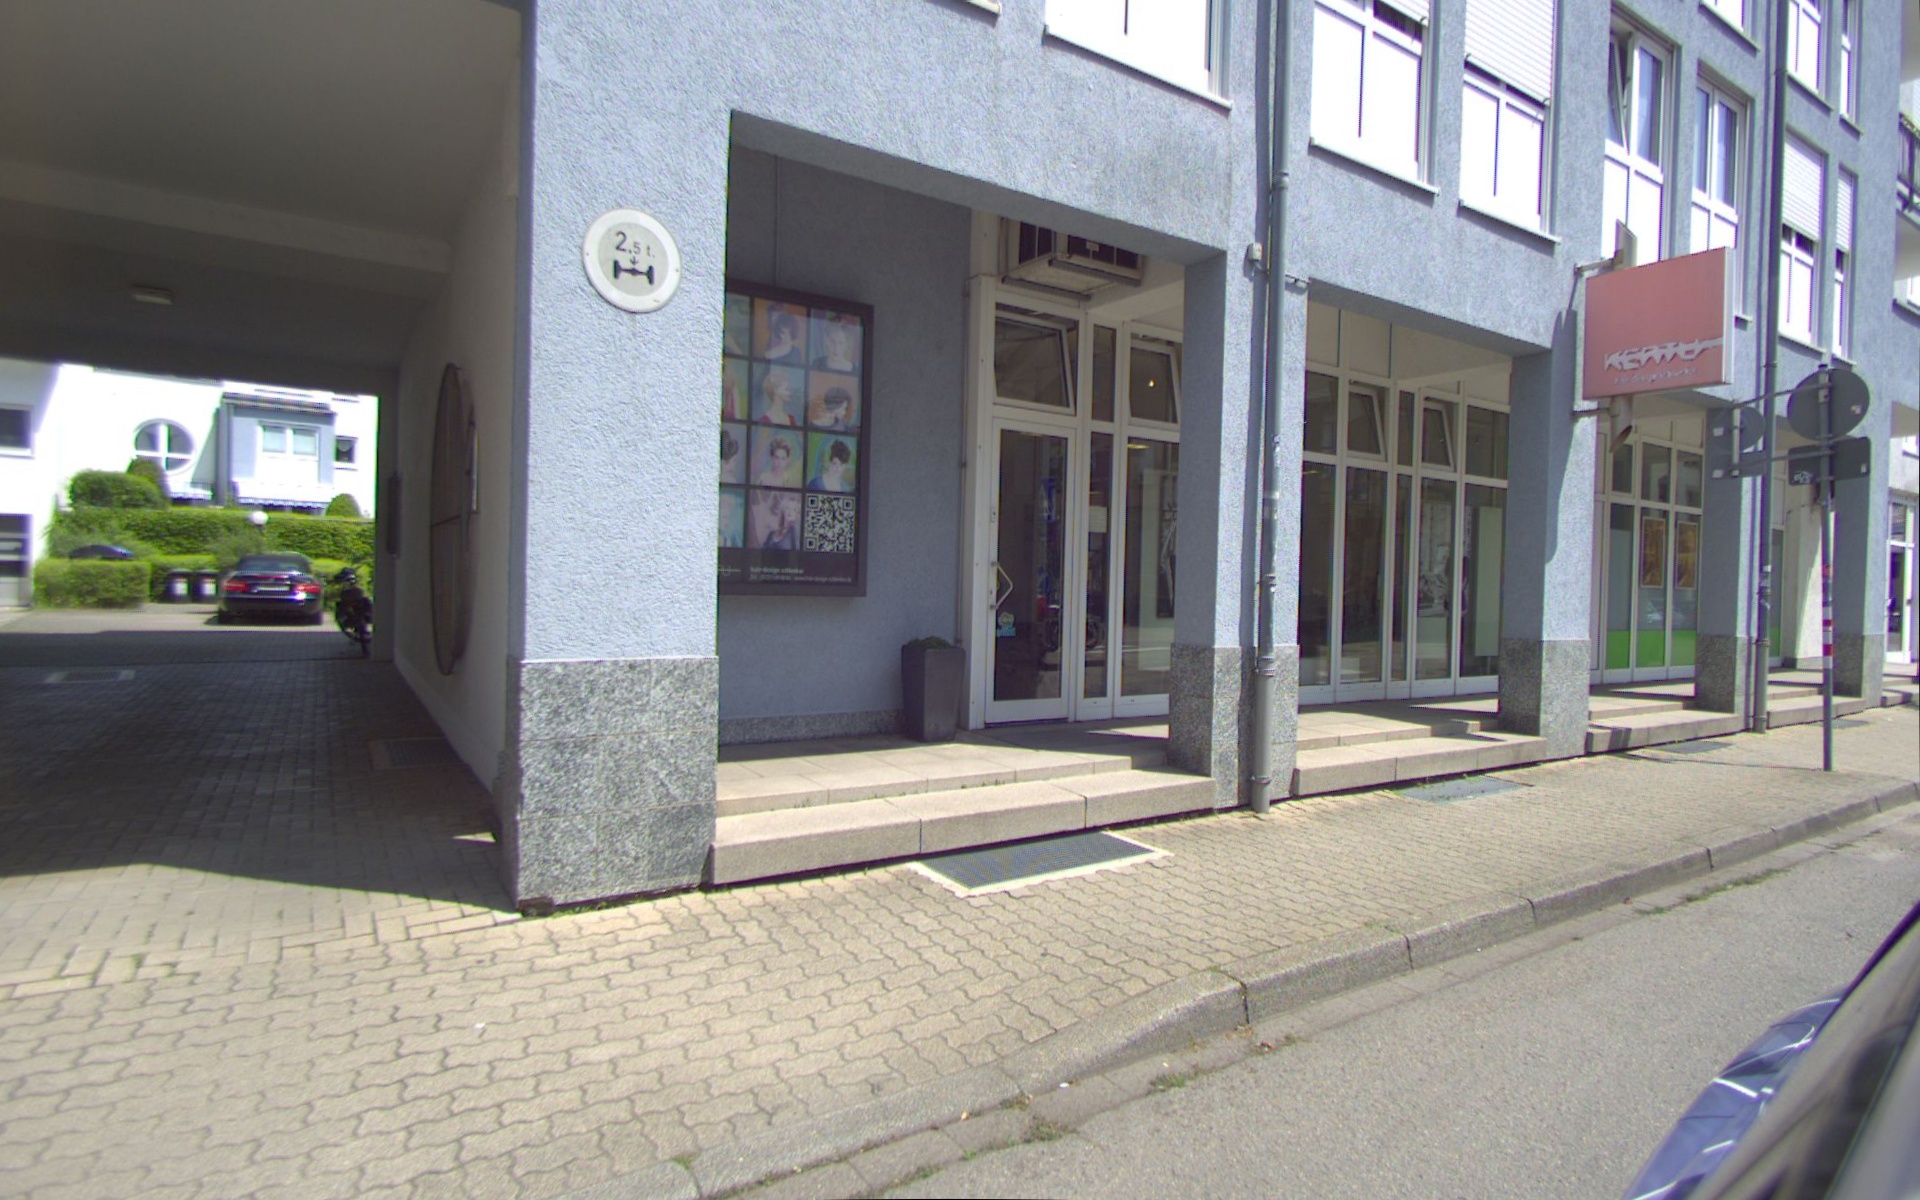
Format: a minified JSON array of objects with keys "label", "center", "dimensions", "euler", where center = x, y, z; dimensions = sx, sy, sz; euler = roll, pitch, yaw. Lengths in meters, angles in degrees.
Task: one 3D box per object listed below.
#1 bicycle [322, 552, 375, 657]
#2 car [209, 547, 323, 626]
[{"label":"bicycle","center":[-8.899,0.027,14.703],"dimensions":[0.550,1.387,1.720],"euler":[1,3,-35]},{"label":"car","center":[-14.350,-0.300,21.112],"dimensions":[1.734,1.438,4.003],"euler":[3,0,-32]}]
